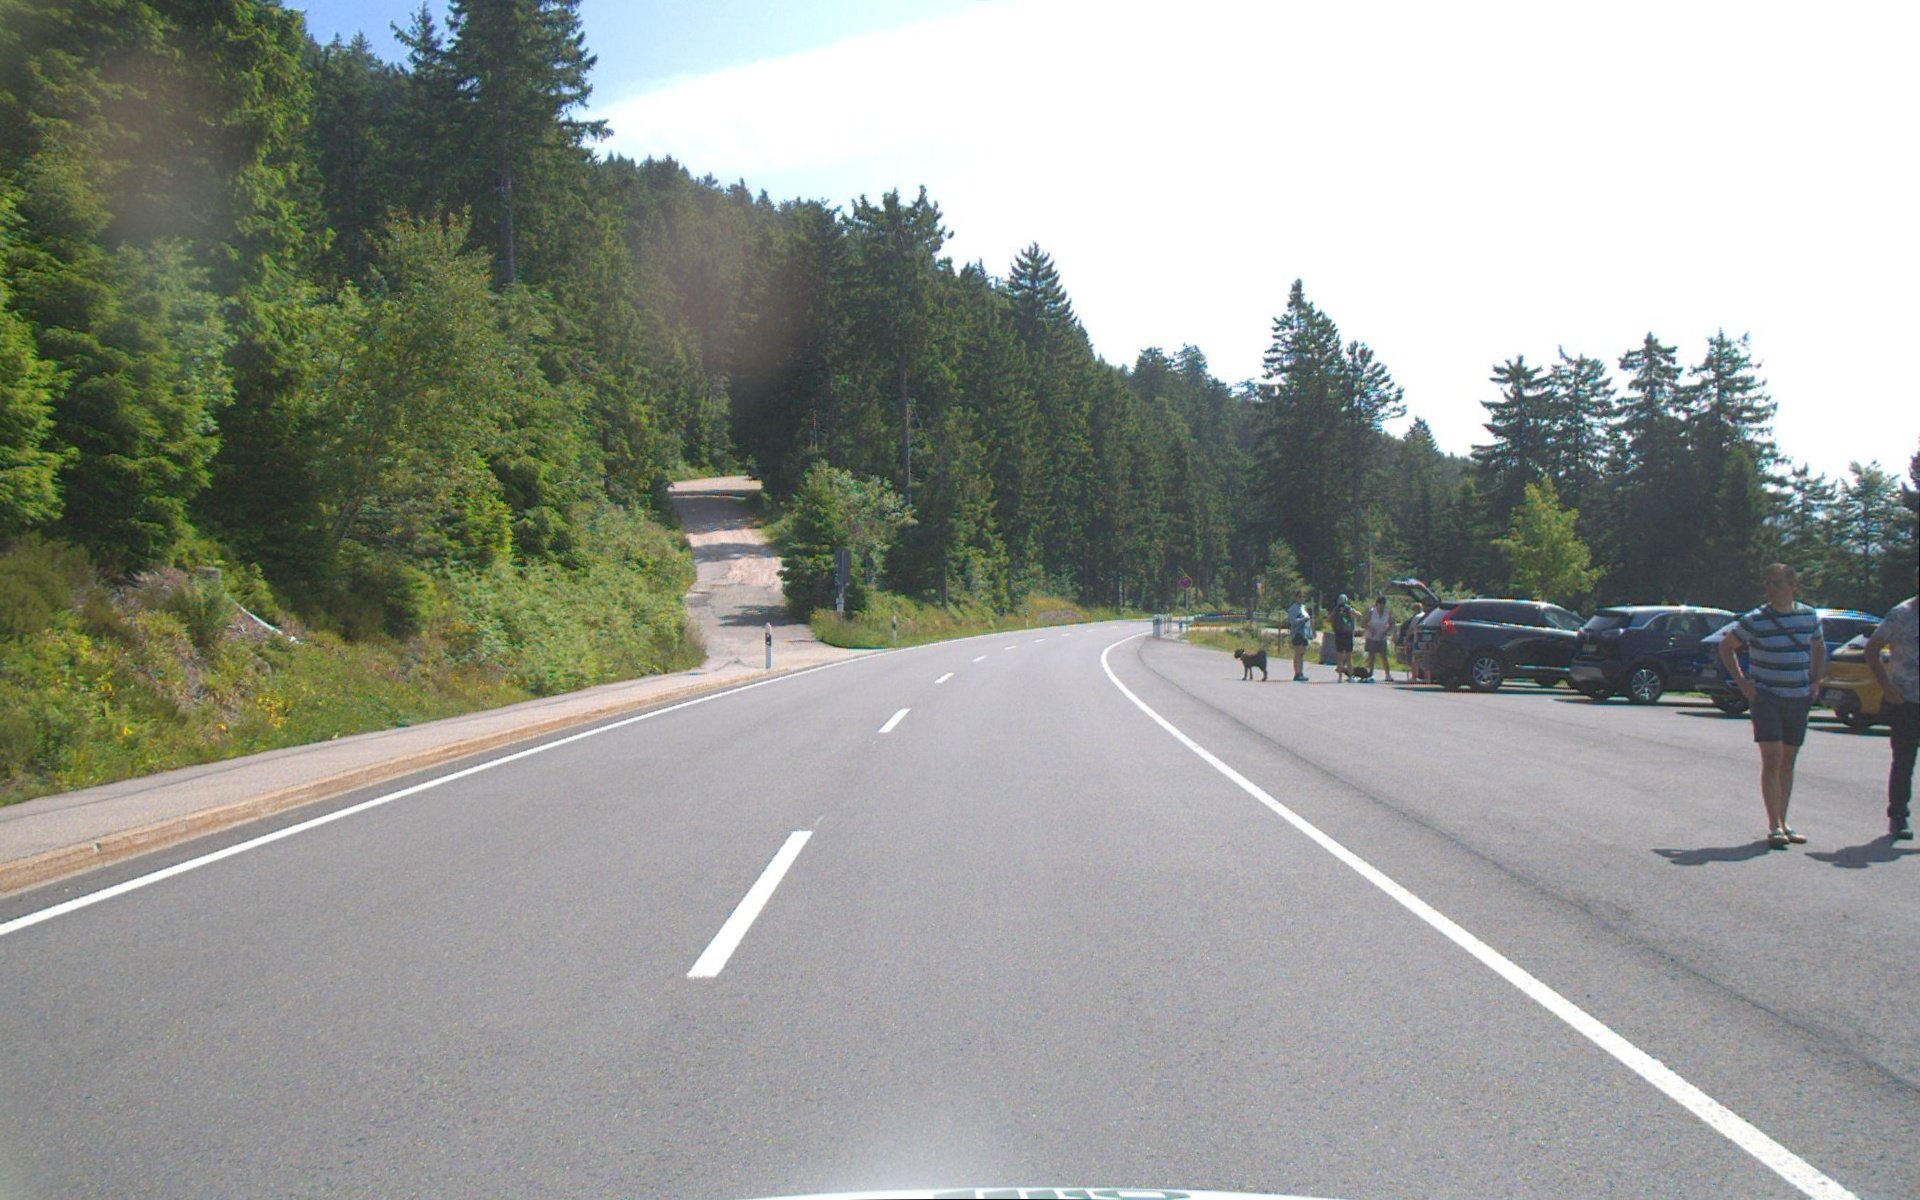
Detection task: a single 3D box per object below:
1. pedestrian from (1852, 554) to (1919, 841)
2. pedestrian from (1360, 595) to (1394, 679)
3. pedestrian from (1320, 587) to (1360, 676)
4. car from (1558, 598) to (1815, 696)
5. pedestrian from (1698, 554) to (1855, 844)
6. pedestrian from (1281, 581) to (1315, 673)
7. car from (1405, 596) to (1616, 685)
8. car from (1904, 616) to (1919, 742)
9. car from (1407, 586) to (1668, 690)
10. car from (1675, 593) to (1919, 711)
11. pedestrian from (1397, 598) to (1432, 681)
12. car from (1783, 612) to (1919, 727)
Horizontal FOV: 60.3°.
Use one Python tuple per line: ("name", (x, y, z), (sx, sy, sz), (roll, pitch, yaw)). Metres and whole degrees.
("pedestrian", (6.199, 0.594, 10.573), (0.650, 1.771, 0.895), (0, 0, 13))
("pedestrian", (8.631, 0.761, 34.270), (0.638, 1.689, 0.688), (-1, 1, 12))
("pedestrian", (7.497, 0.612, 32.645), (0.700, 1.722, 0.619), (0, 0, 6))
("car", (12.182, 0.769, 27.827), (3.680, 1.595, 1.598), (0, 0, -7))
("pedestrian", (5.239, 0.609, 10.650), (0.737, 1.791, 0.776), (0, 0, 13))
("pedestrian", (6.747, 0.529, 33.009), (0.604, 1.806, 0.724), (0, 0, 7))
("car", (11.272, 0.818, 33.977), (3.742, 1.690, 1.651), (2, 0, -5))
("car", (13.158, 1.020, 18.720), (3.916, 1.461, 1.763), (3, 0, -2))
("car", (10.674, 0.681, 30.774), (4.179, 1.825, 1.891), (0, 2, -3))
("car", (12.909, 0.737, 24.420), (3.908, 1.562, 1.806), (0, 3, -5))
("pedestrian", (9.040, 0.782, 32.875), (0.604, 1.615, 0.736), (-1, 1, 19))
("car", (12.989, 0.861, 21.204), (3.906, 1.376, 1.986), (0, 0, -1))
